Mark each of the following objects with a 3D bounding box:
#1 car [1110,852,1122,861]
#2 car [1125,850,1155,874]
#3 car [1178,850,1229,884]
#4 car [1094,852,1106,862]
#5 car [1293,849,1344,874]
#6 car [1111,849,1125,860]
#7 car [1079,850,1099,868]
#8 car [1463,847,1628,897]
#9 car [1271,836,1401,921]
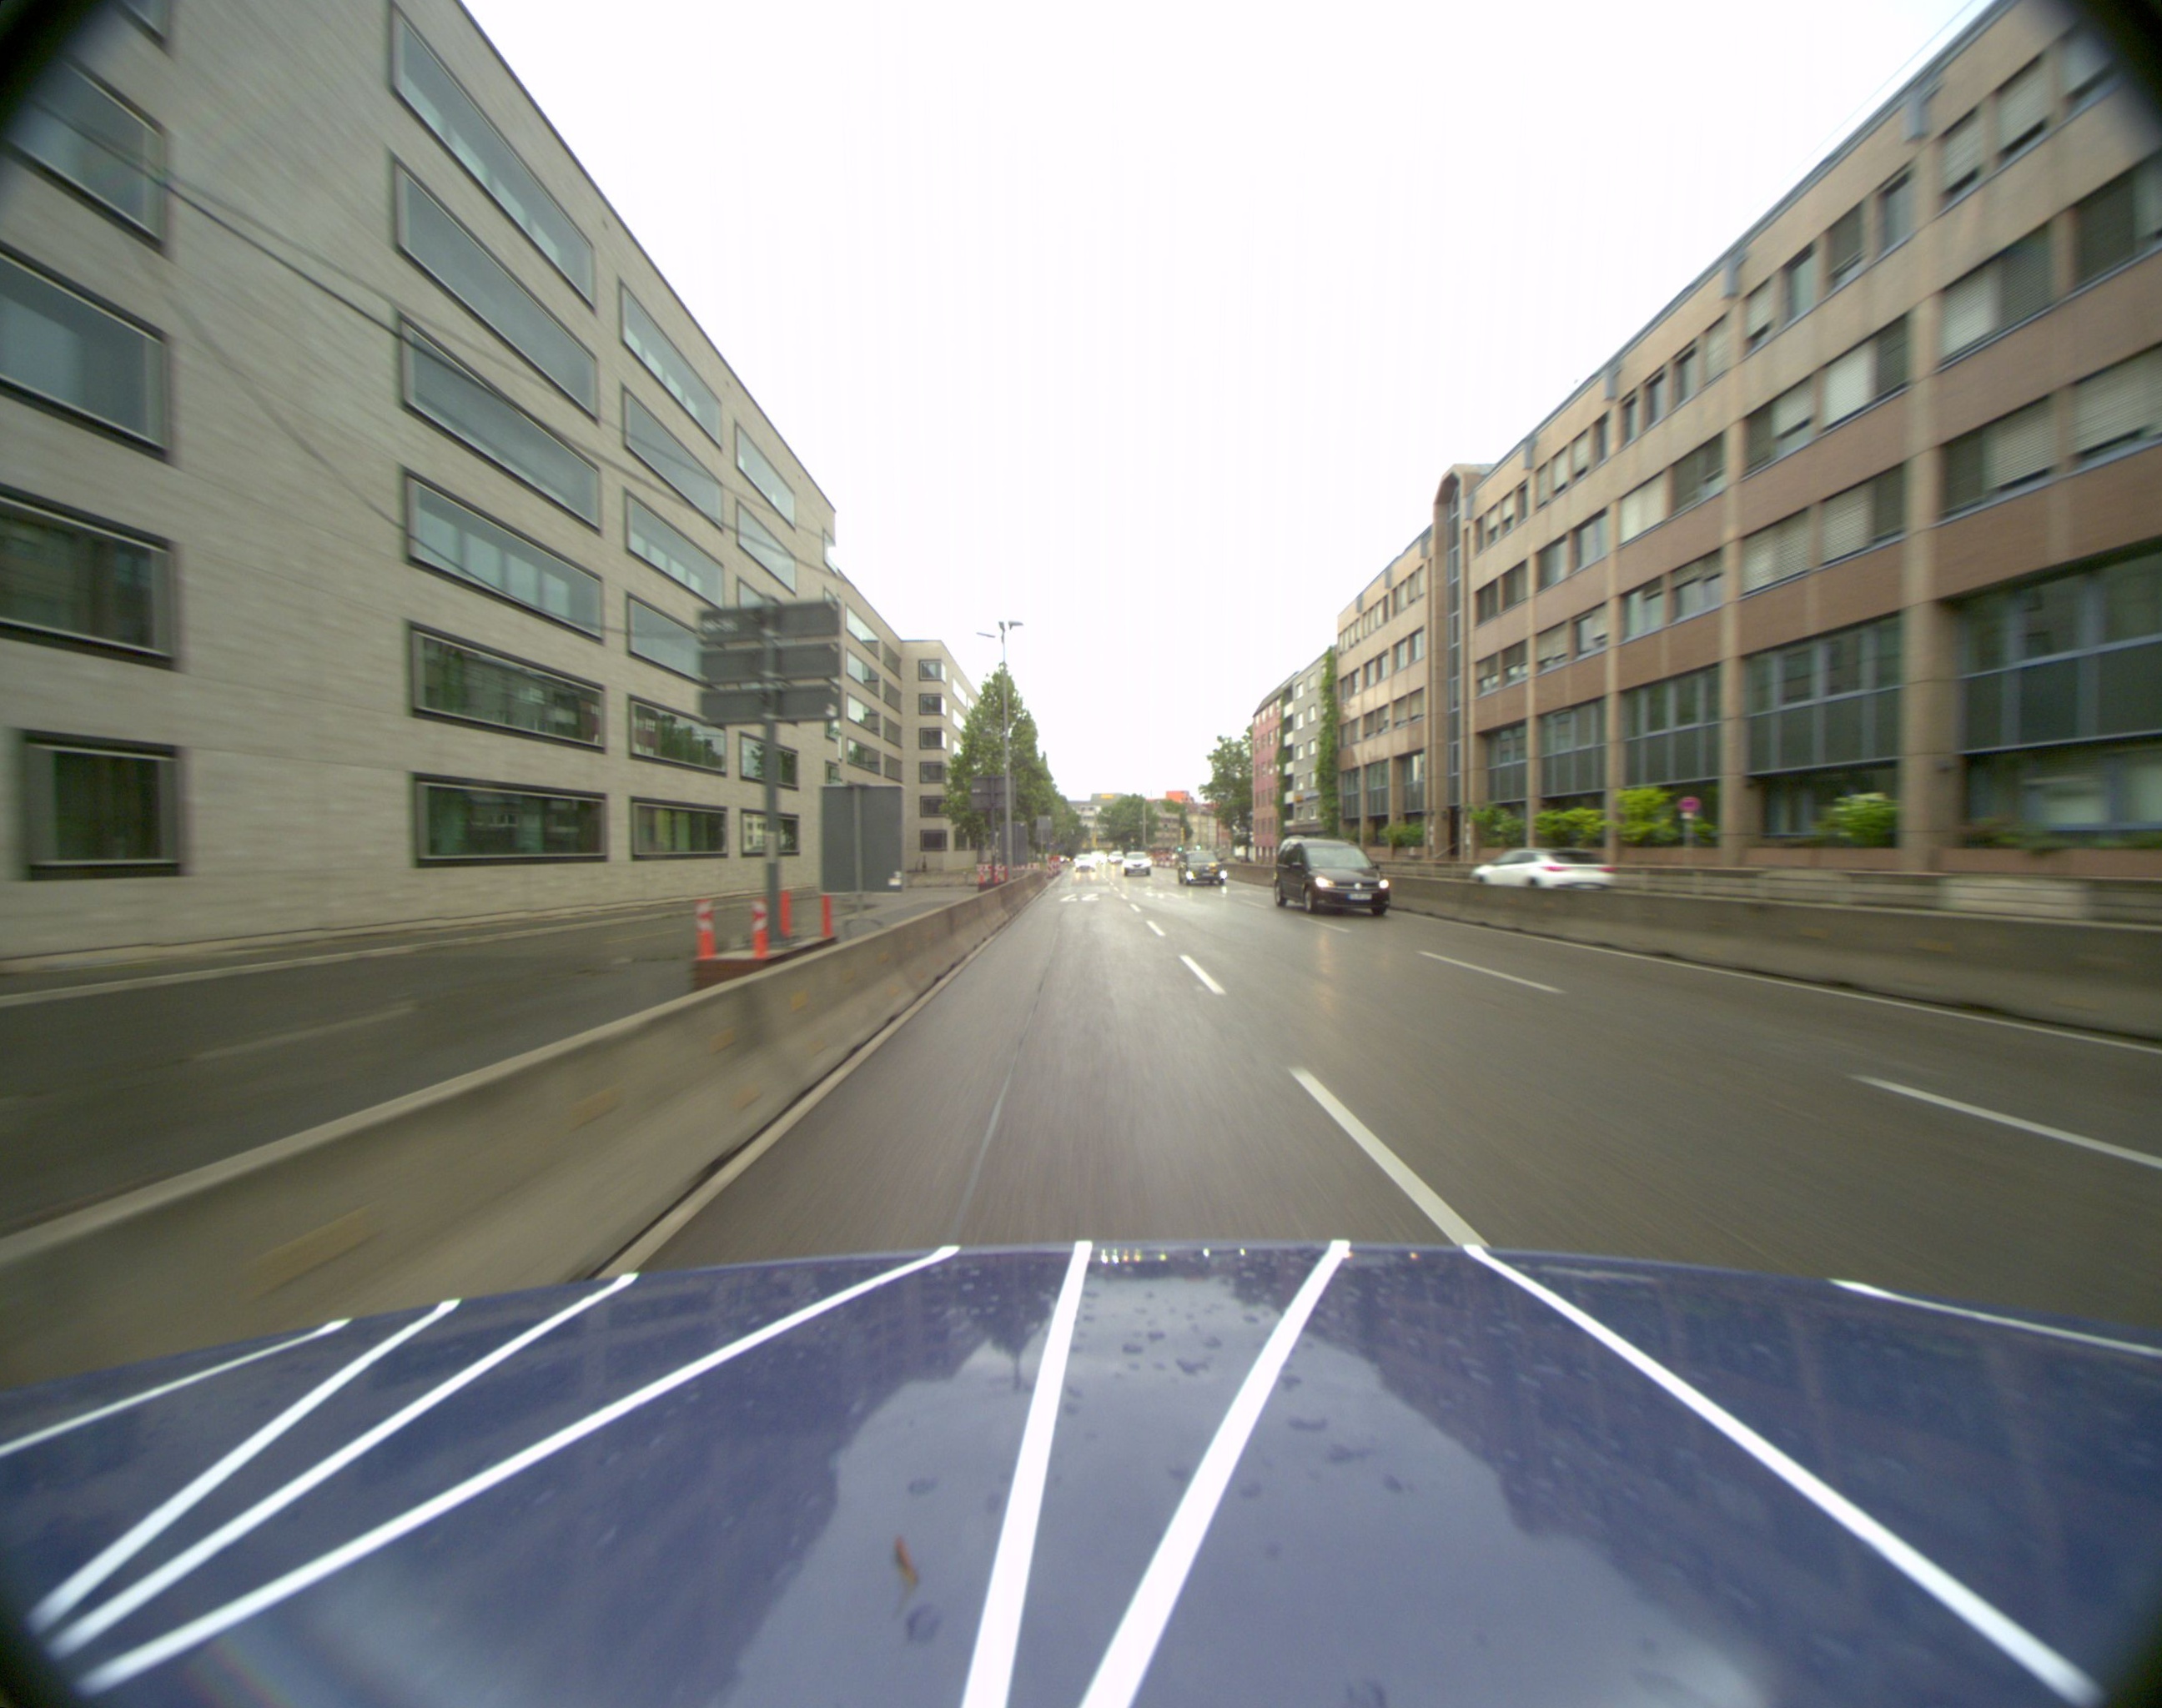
[{"bbox_3d":[5.790,0.388,127.033,1.772,1.524,4.656,-1,0,0],"label":"car"},{"bbox_3d":[4.082,0.528,53.436,1.772,1.524,4.656,-1,0,0],"label":"car"},{"bbox_3d":[5.834,0.559,36.712,1.772,1.524,4.356,-1,0,0],"label":"car"},{"bbox_3d":[3.012,0.397,119.135,1.772,1.524,4.656,-1,0,0],"label":"car"},{"bbox_3d":[13.272,0.391,42.691,1.723,1.312,3.696,-1,0,0],"label":"car"},{"bbox_3d":[5.190,0.050,106.117,1.772,1.524,4.656,-1,0,0],"label":"car"},{"bbox_3d":[0.696,0.438,69.661,1.772,1.524,4.656,-1,0,0],"label":"car"},{"bbox_3d":[13.043,0.451,21.728,1.849,1.262,4.548,-1,0,-2],"label":"car"},{"bbox_3d":[6.007,0.507,18.453,1.798,1.790,4.251,-1,1,1],"label":"car"}]
